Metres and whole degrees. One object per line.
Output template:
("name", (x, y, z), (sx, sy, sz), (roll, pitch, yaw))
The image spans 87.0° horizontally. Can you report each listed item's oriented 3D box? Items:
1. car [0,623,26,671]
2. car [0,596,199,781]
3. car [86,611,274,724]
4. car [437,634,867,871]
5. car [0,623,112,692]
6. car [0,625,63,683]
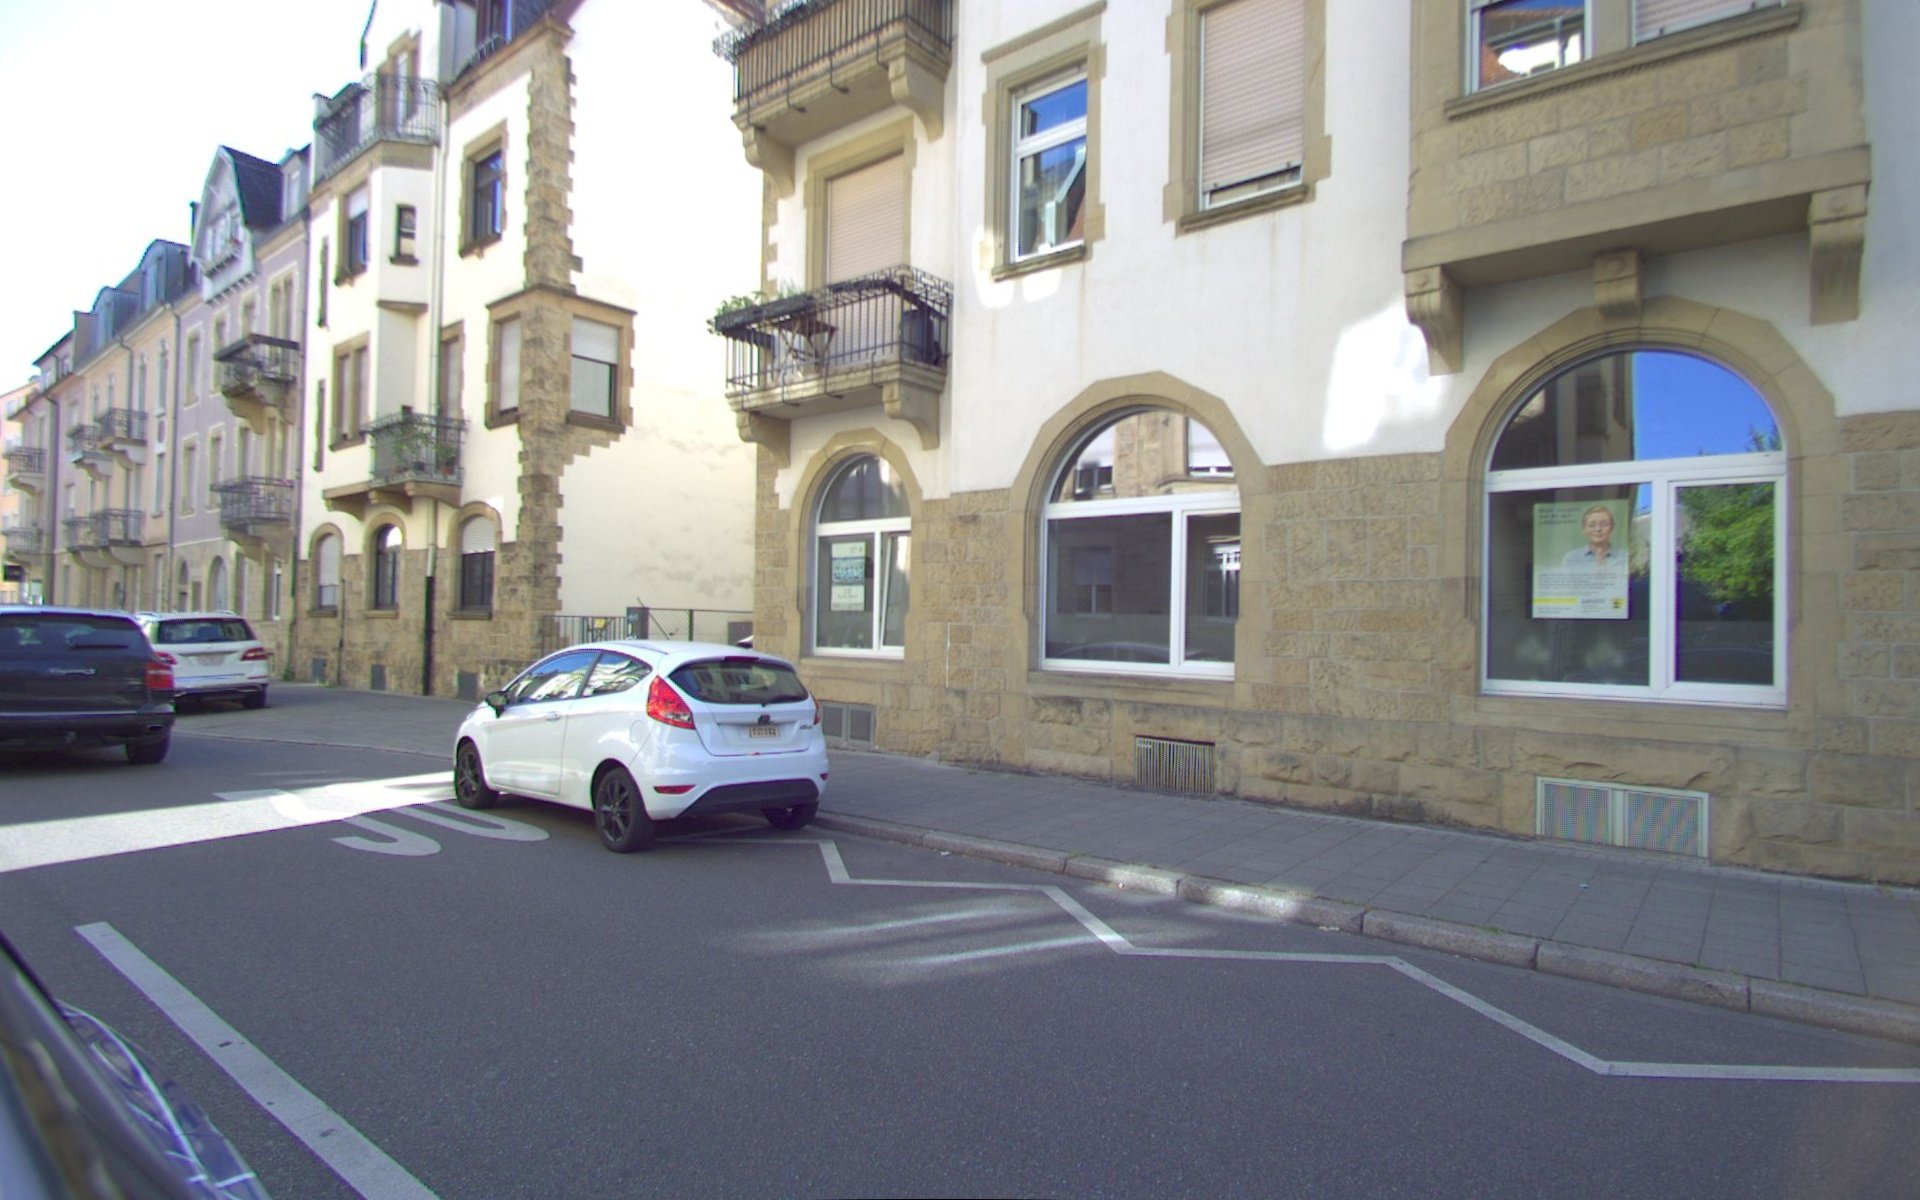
("car", (-33.143, 1.590, 34.221), (4.319, 1.520, 1.866), (-1, 0, 41))
("car", (-10.383, 0.875, 11.238), (4.705, 1.707, 2.051), (-1, -3, 40))
("car", (-13.886, 1.086, 17.938), (4.209, 1.740, 1.866), (-1, 0, 41))
("car", (-2.599, 1.035, 8.142), (3.642, 1.469, 1.634), (-2, -5, 42))
("car", (-22.951, 1.369, 25.434), (4.319, 1.520, 1.866), (-1, 0, 41))
("car", (-27.159, 1.501, 28.874), (4.317, 1.511, 1.833), (-1, 0, 41))
